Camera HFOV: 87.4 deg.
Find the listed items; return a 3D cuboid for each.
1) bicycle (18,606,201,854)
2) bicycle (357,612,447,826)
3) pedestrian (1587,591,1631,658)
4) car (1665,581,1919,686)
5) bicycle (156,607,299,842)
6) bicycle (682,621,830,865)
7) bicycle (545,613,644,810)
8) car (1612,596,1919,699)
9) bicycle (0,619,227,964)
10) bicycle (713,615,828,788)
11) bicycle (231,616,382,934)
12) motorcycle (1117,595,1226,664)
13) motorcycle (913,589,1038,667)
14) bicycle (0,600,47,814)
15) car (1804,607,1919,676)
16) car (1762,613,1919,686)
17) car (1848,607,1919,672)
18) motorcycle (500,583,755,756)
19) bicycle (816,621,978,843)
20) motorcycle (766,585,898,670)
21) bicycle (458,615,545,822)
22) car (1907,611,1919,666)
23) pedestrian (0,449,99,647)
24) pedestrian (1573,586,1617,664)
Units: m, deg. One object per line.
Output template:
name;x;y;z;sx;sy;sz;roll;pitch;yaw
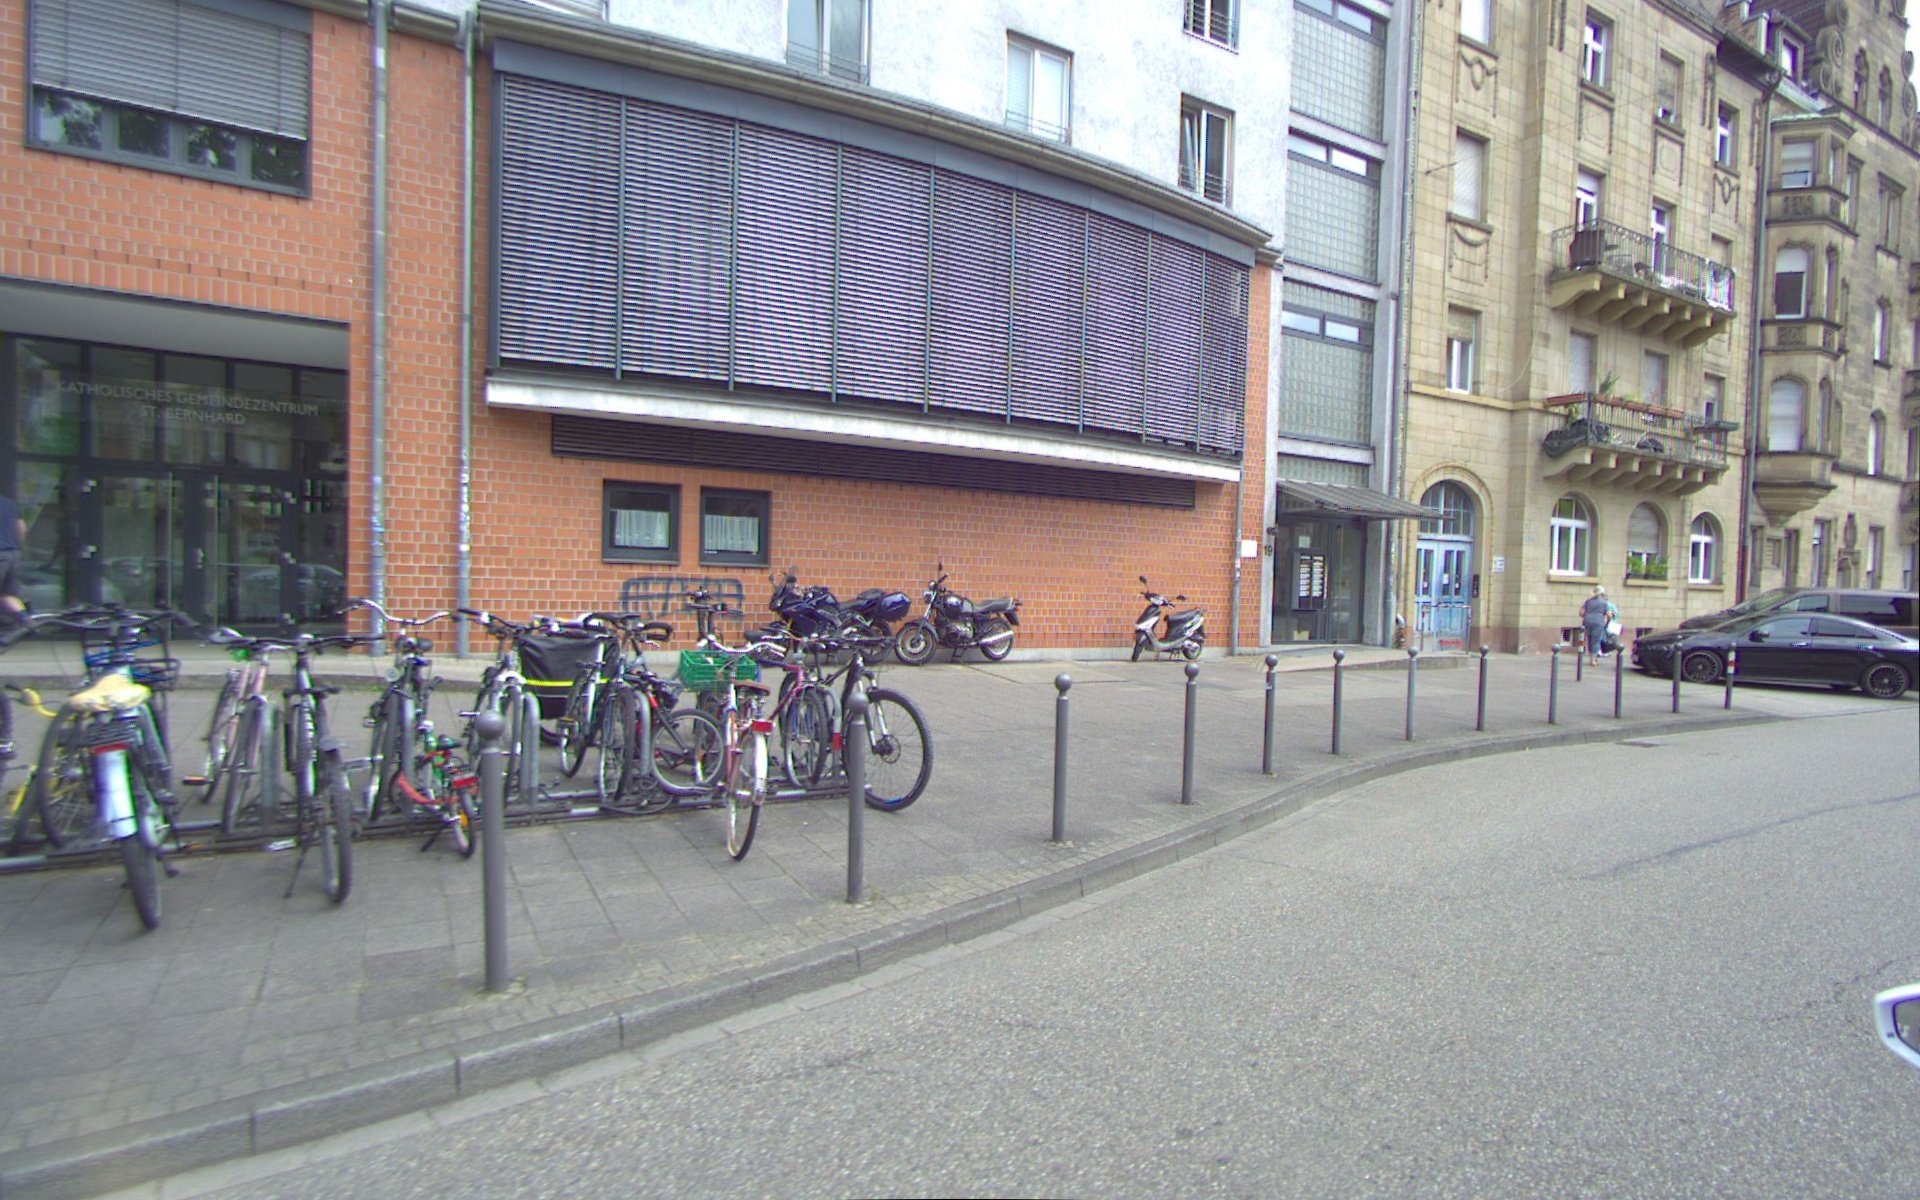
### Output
bicycle;-4.308;0.584;5.162;0.396;1.040;1.400;1;2;-27
bicycle;-3.244;0.629;5.897;0.396;1.040;1.400;1;2;-27
pedestrian;14.912;0.557;23.087;0.503;1.505;0.656;1;1;-31
car;17.969;0.661;20.785;5.172;1.935;2.119;2;1;26
bicycle;-3.896;0.591;5.408;0.396;1.040;1.400;1;2;-27
bicycle;-1.156;0.701;5.494;0.396;1.052;1.400;1;3;-27
bicycle;-2.332;0.638;6.335;0.396;1.040;1.400;1;2;-27
car;15.318;0.837;19.032;4.581;1.428;1.899;5;4;22
bicycle;-3.344;0.659;4.055;0.396;1.040;1.400;1;3;-27
bicycle;-1.376;0.665;7.142;0.396;1.040;1.400;1;2;-27
bicycle;-2.799;0.658;4.382;0.396;1.052;1.400;1;3;-27
motorcycle;3.496;0.486;16.572;1.772;1.063;0.581;1;3;-30
motorcycle;0.257;0.399;14.870;1.952;1.063;0.578;0;3;-42
bicycle;-4.913;0.547;4.842;0.396;1.040;1.400;1;2;-27
car;22.685;0.996;23.690;3.921;1.523;1.630;2;1;26
car;20.531;1.097;22.221;3.933;1.428;1.796;2;1;19
car;25.416;1.043;25.498;3.939;1.585;1.794;2;1;29
motorcycle;-2.523;0.500;7.682;1.757;1.188;0.581;1;3;-29
bicycle;-0.422;0.717;5.990;0.396;1.052;1.400;1;3;-27
motorcycle;-1.708;0.355;13.490;1.638;1.063;0.580;1;3;-32
bicycle;-2.800;0.647;6.085;0.396;1.040;1.400;1;2;-27
car;28.087;1.135;26.841;3.616;1.501;1.740;2;1;25
pedestrian;-9.928;-0.541;10.770;0.768;2.041;0.729;1;1;-10
pedestrian;13.146;0.512;20.796;0.642;1.566;0.506;3;1;42
